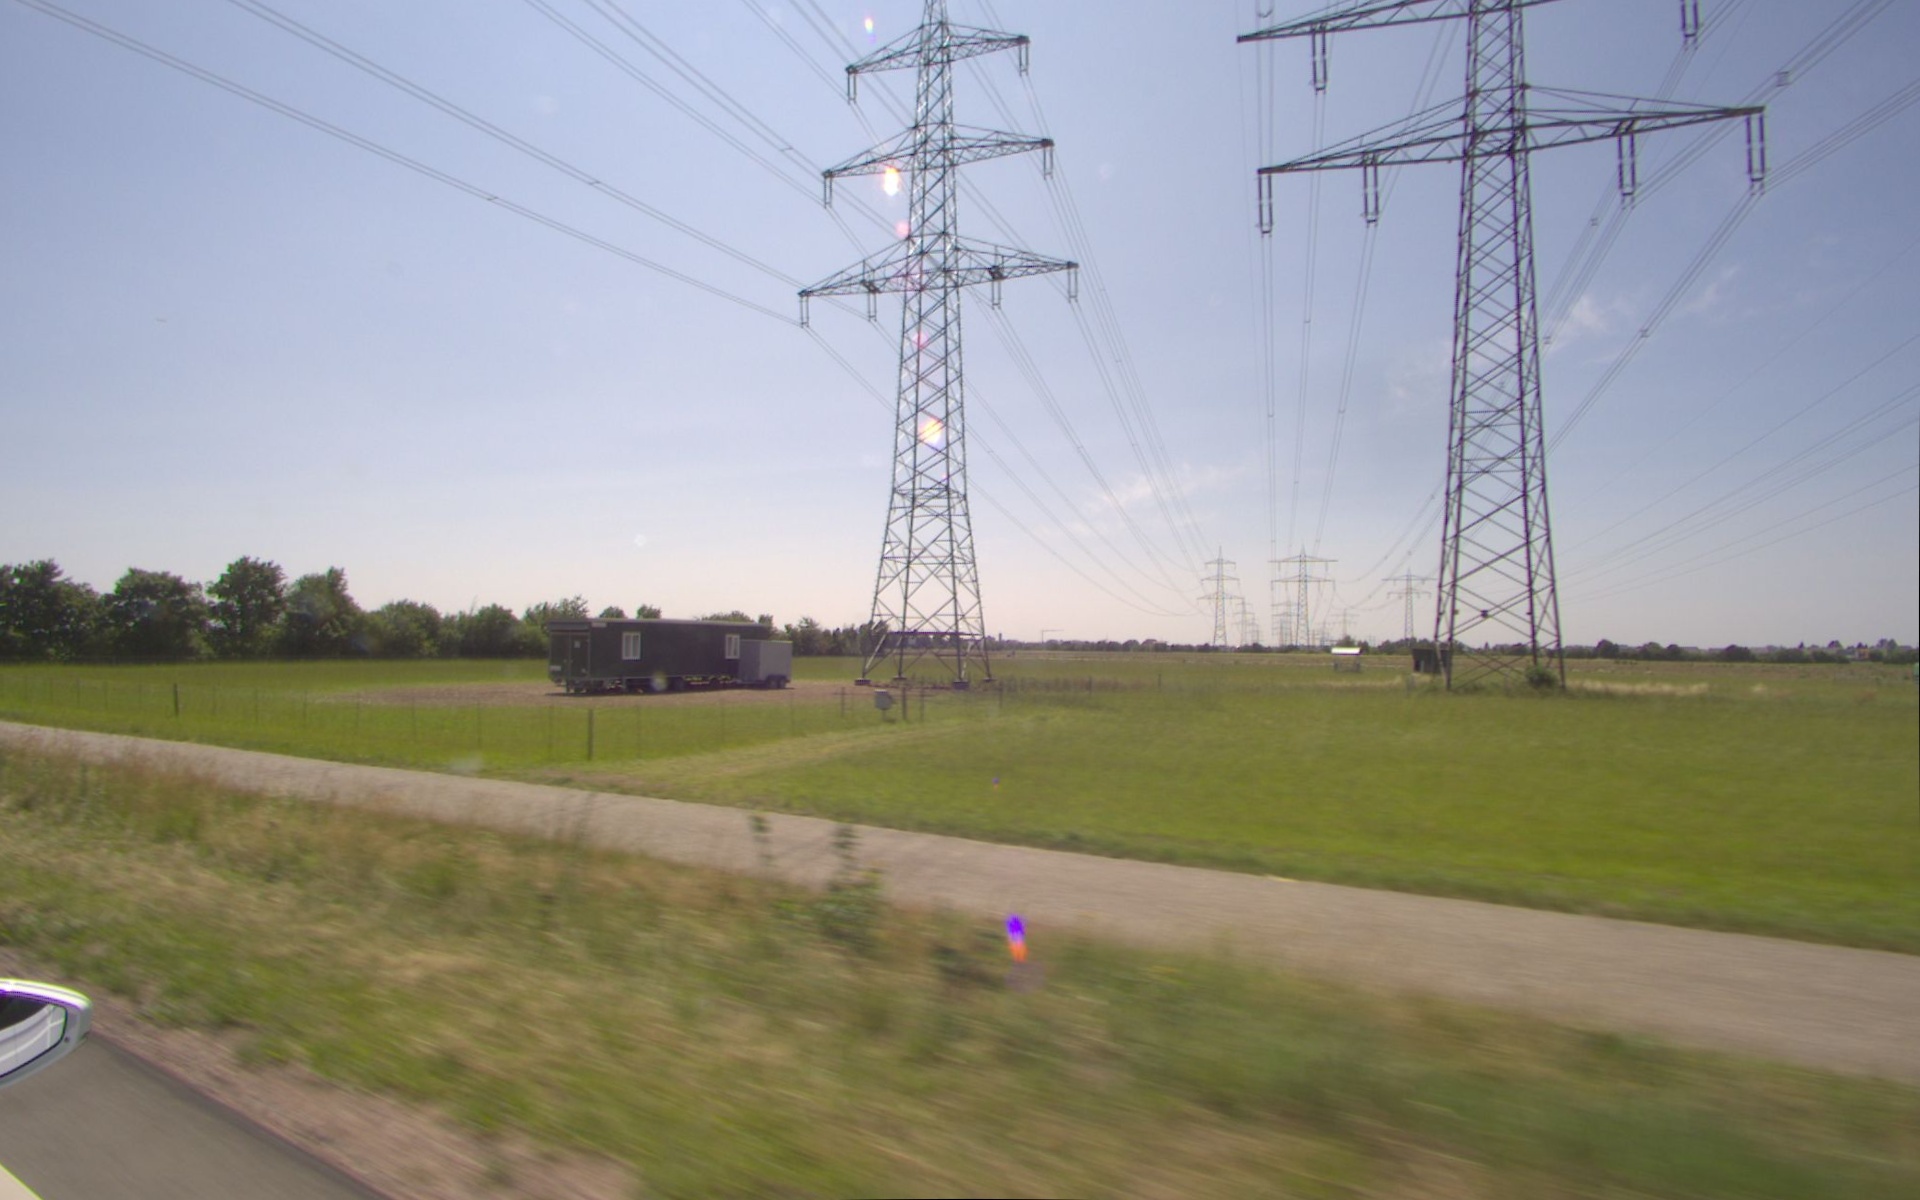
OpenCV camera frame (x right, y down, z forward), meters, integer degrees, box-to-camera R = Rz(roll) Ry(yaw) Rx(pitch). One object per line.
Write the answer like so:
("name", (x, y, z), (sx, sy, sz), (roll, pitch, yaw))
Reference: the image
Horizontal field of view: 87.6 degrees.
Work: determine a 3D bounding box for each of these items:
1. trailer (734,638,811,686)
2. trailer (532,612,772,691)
("trailer", (-10.008, 3.308, 53.688), (1.969, 2.473, 3.986), (0, -3, 29))
("trailer", (-15.131, 2.623, 50.966), (3.749, 3.516, 12.400), (0, -3, 30))
